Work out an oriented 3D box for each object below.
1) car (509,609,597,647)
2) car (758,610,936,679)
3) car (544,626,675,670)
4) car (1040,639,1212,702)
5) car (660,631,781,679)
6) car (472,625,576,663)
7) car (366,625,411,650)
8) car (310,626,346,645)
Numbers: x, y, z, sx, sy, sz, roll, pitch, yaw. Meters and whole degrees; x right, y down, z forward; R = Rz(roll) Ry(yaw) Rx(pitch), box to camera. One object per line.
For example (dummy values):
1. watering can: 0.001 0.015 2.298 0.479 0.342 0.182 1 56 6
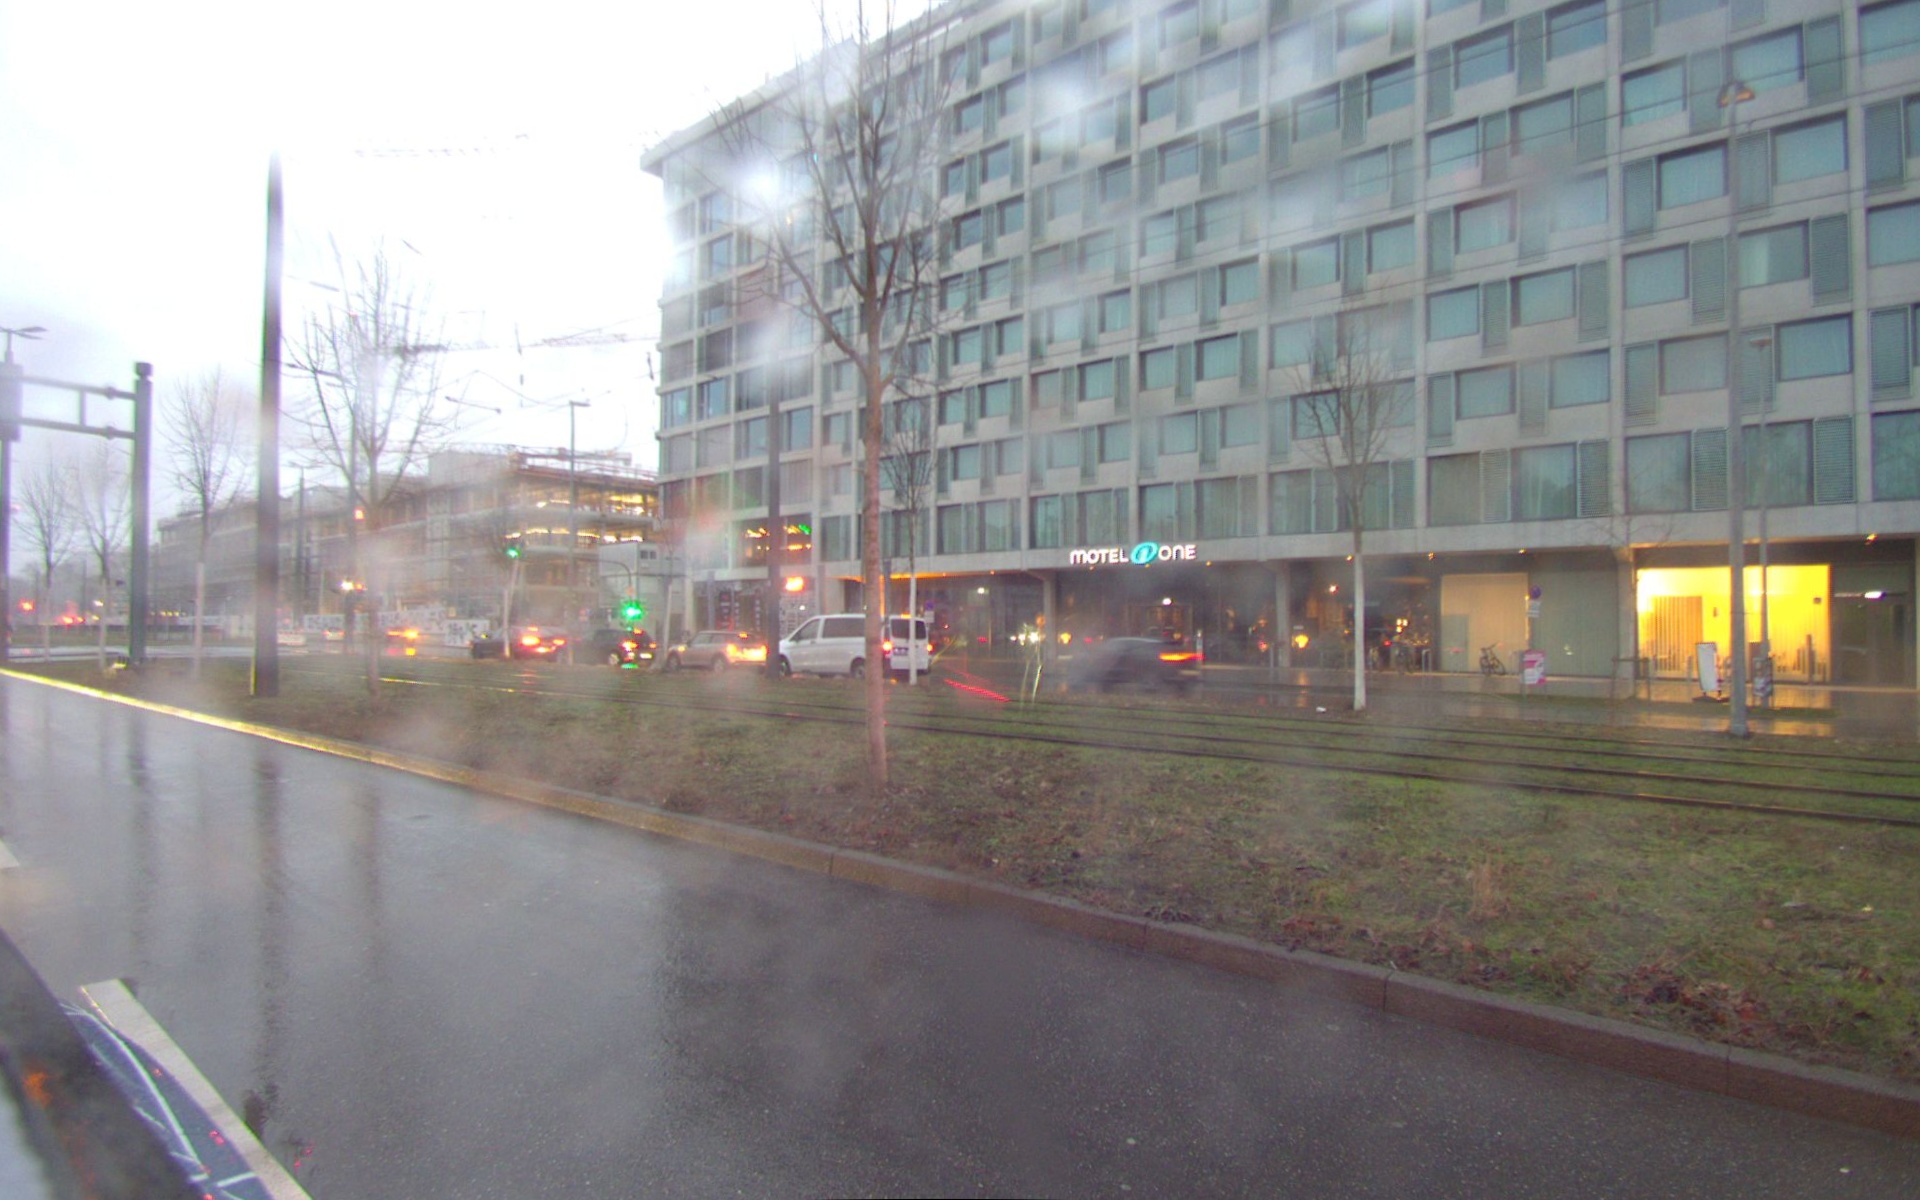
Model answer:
1. car: -19.308 1.334 47.904 4.914 1.732 1.876 -1 -2 41
2. car: -3.184 1.195 27.888 5.113 1.732 1.877 -1 -3 40
3. car: -12.773 1.722 36.879 4.425 1.508 1.983 -1 -2 26
4. car: 4.692 1.948 29.042 4.578 1.646 1.876 -1 -2 41
5. car: -7.687 1.726 32.365 3.702 1.442 1.877 -1 -2 38
6. car: -17.844 1.771 41.277 5.032 1.479 1.972 -2 -3 42
7. car: -42.147 2.735 74.551 1.872 1.732 4.923 2 -2 -41
8. car: -60.146 3.360 96.265 1.874 1.732 4.920 2 -2 -44
